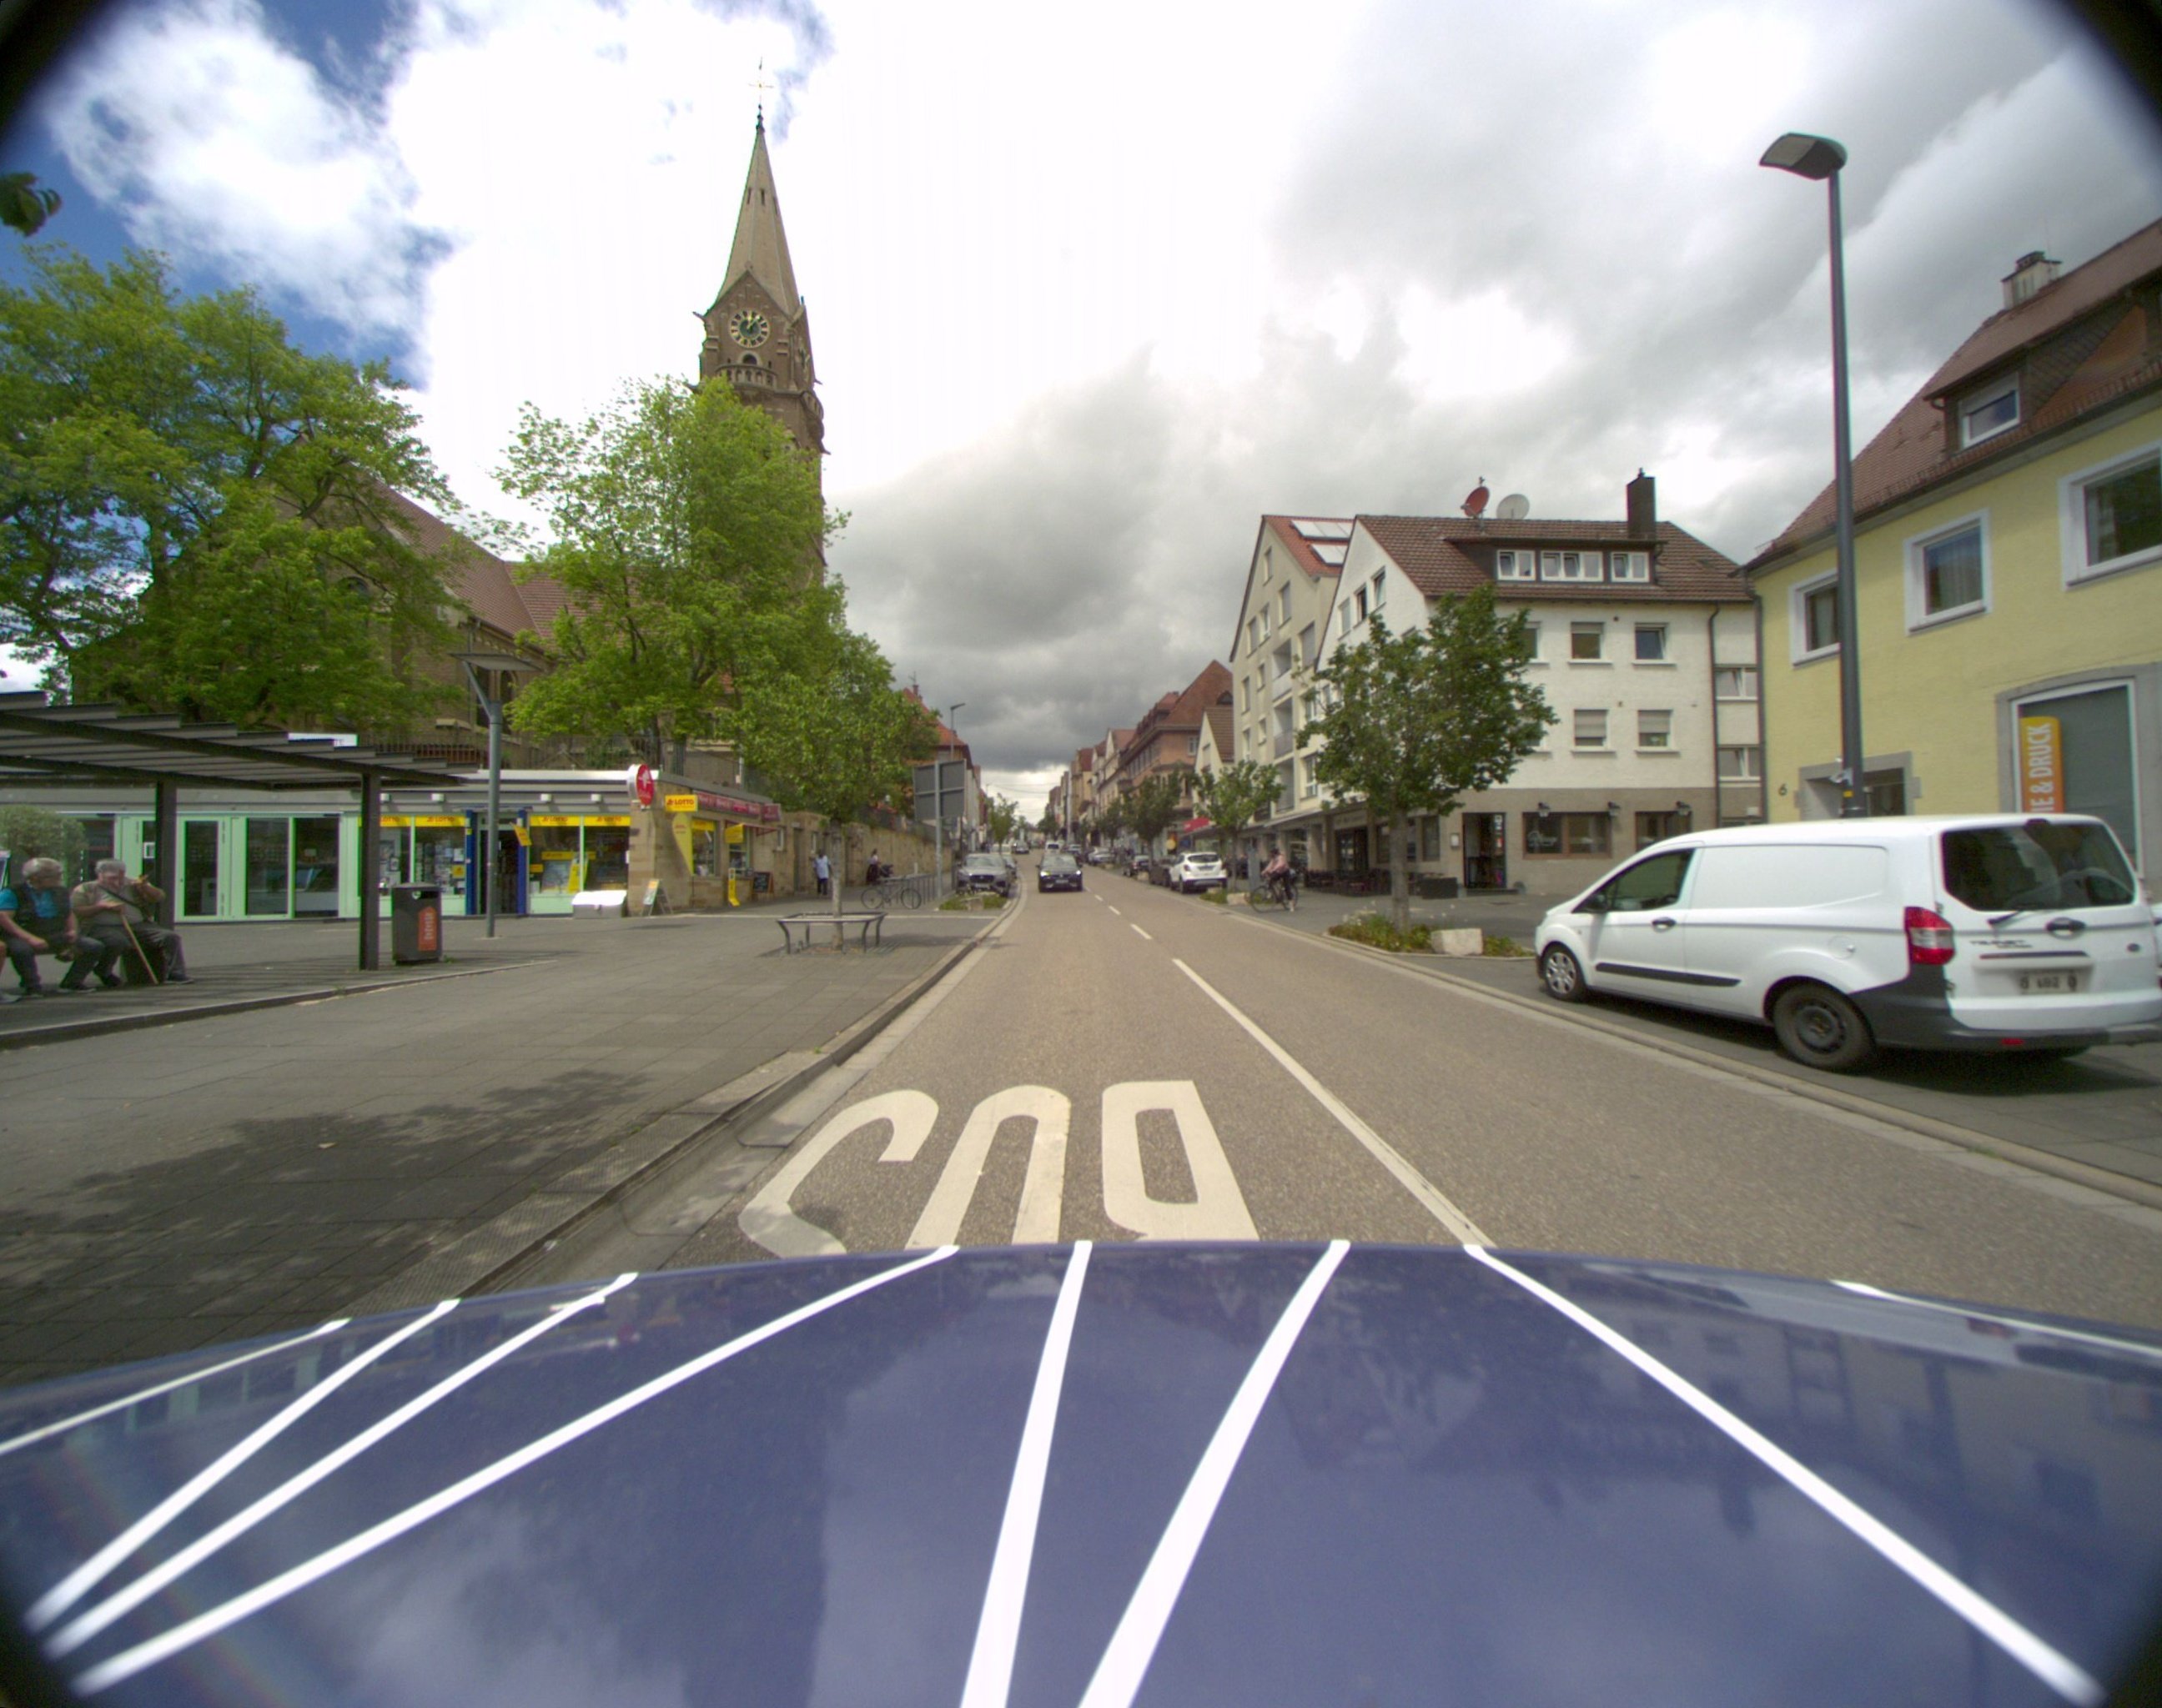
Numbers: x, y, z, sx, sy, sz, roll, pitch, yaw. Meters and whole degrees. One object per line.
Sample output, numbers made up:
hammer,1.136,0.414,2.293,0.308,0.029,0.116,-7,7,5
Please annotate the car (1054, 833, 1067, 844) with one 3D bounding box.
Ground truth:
car,-2.927,-2.174,109.052,1.691,1.516,3.526,-1,2,-5

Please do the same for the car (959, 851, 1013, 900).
car,-3.643,0.755,29.534,1.934,1.714,4.570,0,1,-6

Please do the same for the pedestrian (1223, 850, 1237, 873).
pedestrian,8.297,0.416,42.344,0.597,1.240,0.598,-2,2,-5

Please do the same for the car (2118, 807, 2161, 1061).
car,8.585,0.539,3.370,1.761,1.803,4.475,-3,0,-2

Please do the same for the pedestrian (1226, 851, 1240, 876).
pedestrian,7.828,0.489,39.144,0.551,1.260,0.598,-2,2,-5

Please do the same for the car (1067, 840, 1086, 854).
car,-0.497,-0.748,83.725,1.733,1.423,3.500,-1,2,-5

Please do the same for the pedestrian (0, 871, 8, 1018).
pedestrian,-9.904,0.802,6.565,0.499,1.312,0.525,0,-2,5

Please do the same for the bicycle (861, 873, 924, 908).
bicycle,-5.479,1.061,22.134,1.732,0.990,0.345,0,1,-9

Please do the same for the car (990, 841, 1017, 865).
car,-6.496,-0.100,64.147,1.890,1.837,5.028,0,2,-1

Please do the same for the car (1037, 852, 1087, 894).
car,-0.887,0.760,32.979,1.895,1.516,3.732,-2,2,-5

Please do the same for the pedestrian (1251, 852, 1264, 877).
pedestrian,8.784,0.528,37.841,0.428,1.242,0.566,-2,1,-5

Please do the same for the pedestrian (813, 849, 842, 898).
pedestrian,-8.931,0.679,26.773,0.596,1.720,0.764,2,1,42

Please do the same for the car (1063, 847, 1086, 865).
car,-0.570,0.139,61.683,1.611,1.380,3.627,0,1,-4

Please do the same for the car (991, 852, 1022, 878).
car,-4.598,0.626,46.374,1.760,1.433,4.085,0,2,-7

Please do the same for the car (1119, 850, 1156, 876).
car,3.425,0.516,46.753,1.662,1.384,4.440,-1,2,-4

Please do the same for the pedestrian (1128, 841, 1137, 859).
pedestrian,4.421,-0.352,65.102,0.615,1.573,0.641,-1,3,-7

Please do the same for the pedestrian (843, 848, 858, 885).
pedestrian,-10.289,0.550,33.883,0.474,1.636,0.506,0,2,6

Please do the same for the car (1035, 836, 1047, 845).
car,-6.615,-2.221,124.775,1.687,1.492,4.150,0,2,-6

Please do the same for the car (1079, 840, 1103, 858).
car,0.926,-0.494,70.626,1.669,1.518,3.959,-3,2,-7

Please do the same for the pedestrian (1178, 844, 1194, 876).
pedestrian,5.897,0.352,42.726,0.662,1.751,0.777,-2,3,-8

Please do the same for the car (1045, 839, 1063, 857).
car,-2.884,-0.673,80.369,1.751,1.792,4.209,1,1,-4

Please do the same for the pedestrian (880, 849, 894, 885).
pedestrian,-9.036,0.596,35.450,0.474,1.636,0.506,0,2,6

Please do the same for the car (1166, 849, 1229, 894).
car,4.624,0.639,30.741,1.670,1.637,4.132,-2,1,-3

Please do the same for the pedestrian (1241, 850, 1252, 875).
pedestrian,8.569,0.432,39.297,0.396,1.242,0.499,-2,1,-5

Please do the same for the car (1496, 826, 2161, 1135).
car,5.633,0.686,6.408,1.661,1.662,4.349,-2,0,-3

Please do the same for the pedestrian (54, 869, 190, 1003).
pedestrian,-9.780,0.813,7.767,0.617,1.312,0.586,0,-2,3

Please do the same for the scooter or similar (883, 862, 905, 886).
scooter or similar,-8.734,0.926,35.530,0.813,1.066,0.560,0,2,6

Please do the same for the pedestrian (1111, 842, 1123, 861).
pedestrian,3.174,-0.267,67.585,0.873,1.657,0.905,-1,2,-7

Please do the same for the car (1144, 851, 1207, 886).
car,4.397,0.628,36.142,1.845,1.443,4.511,-2,2,-7

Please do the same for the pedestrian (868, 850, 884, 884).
pedestrian,-9.368,0.591,34.711,0.590,1.515,0.584,0,1,-2

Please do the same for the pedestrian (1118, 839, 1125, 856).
pedestrian,3.446,-0.535,65.259,0.497,1.469,0.528,-1,3,-7

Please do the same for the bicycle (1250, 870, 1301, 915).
bicycle,5.127,0.990,19.974,1.657,1.081,0.412,-1,1,-40

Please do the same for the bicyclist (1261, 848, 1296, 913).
bicyclist,5.197,0.691,20.024,0.779,1.685,0.508,0,1,-39

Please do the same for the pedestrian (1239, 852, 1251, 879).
pedestrian,8.138,0.558,37.724,0.422,1.292,0.454,-2,1,-5

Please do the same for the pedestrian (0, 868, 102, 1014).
pedestrian,-9.858,0.799,7.154,0.496,1.312,0.575,0,-2,4

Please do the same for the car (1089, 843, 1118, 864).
car,1.811,-0.103,63.349,1.730,1.565,4.450,-1,2,-7
